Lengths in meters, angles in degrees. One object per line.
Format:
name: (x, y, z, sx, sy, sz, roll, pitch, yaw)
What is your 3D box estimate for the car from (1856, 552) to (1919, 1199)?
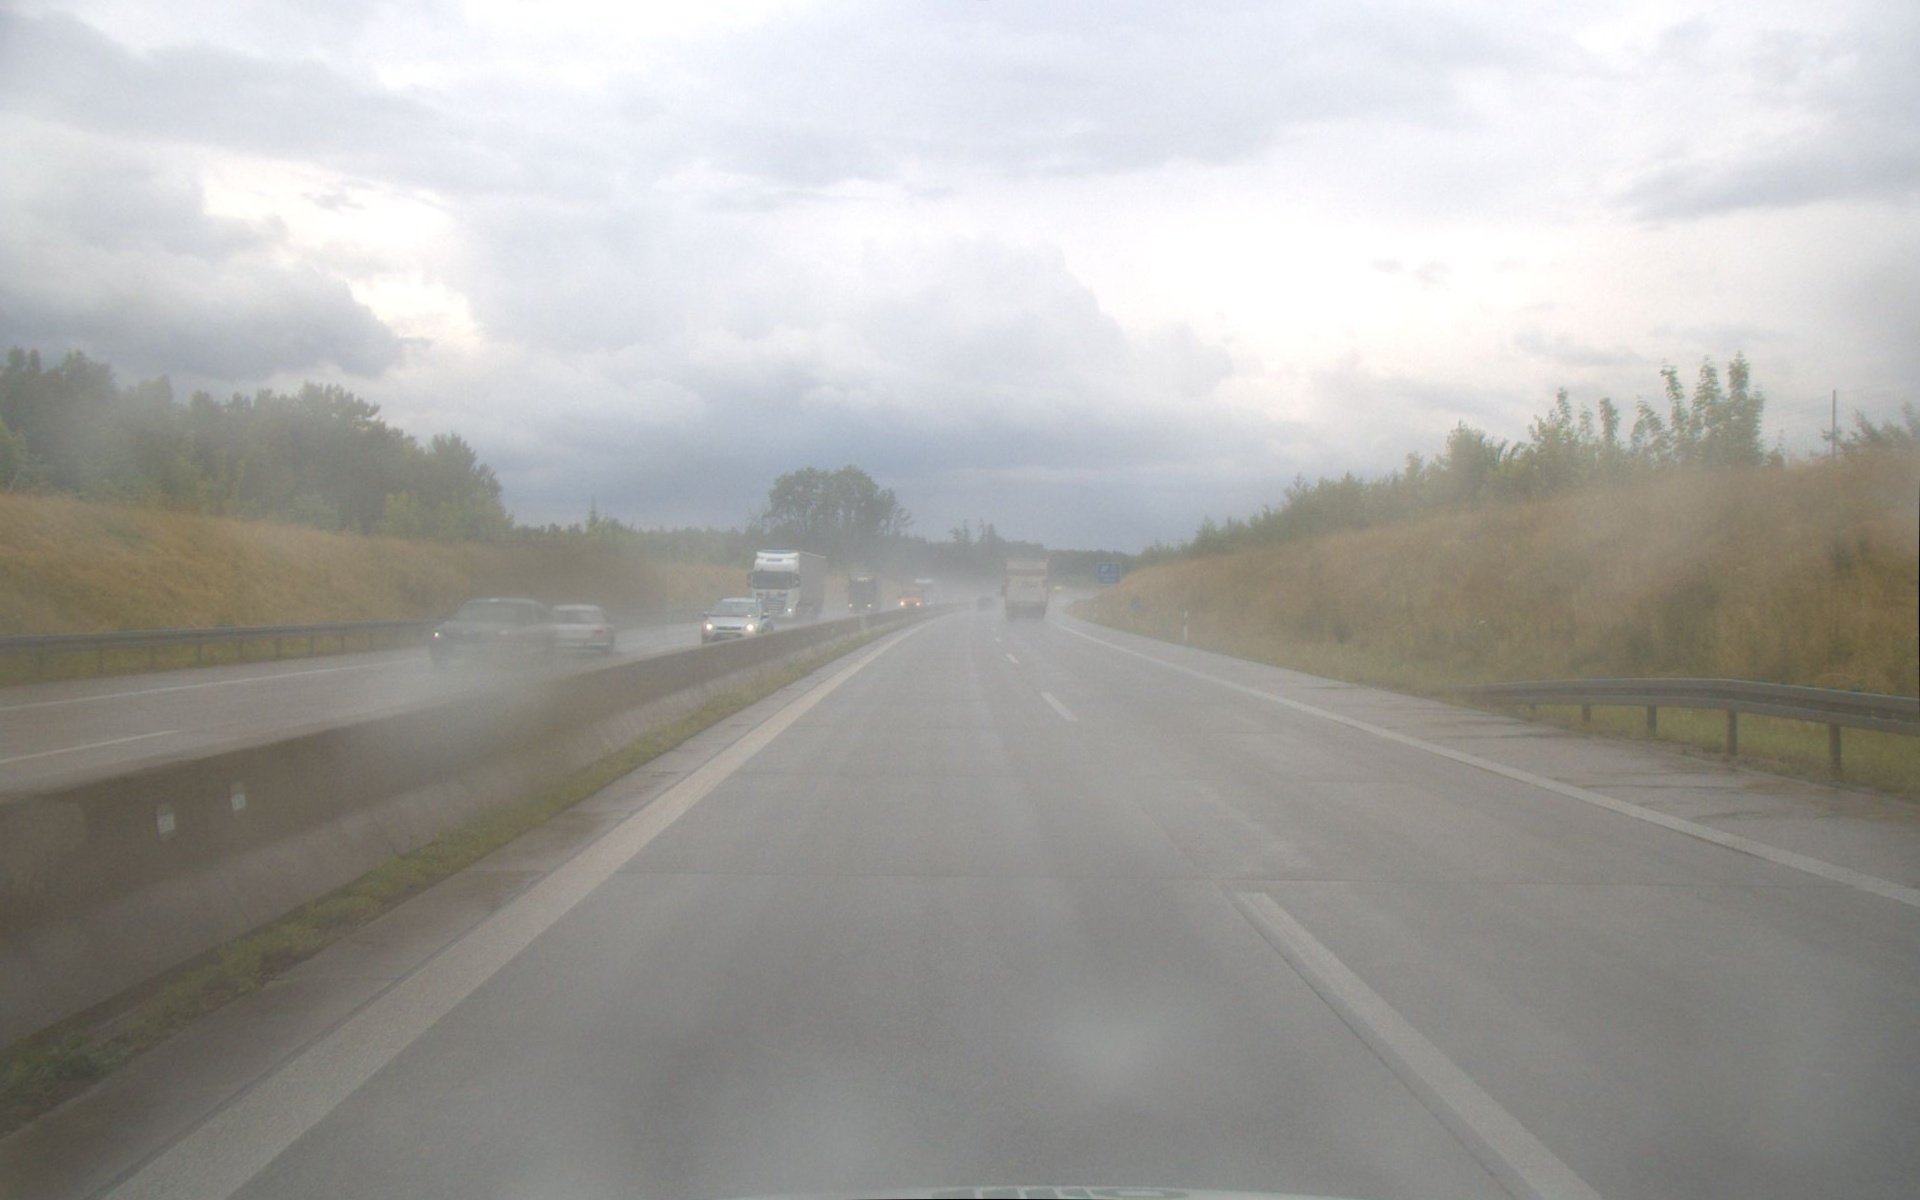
car: (3.304, 0.716, 2.488, 1.856, 1.603, 3.630, 1, 0, -2)

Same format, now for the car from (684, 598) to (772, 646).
car: (-6.811, 0.624, 48.995, 1.953, 1.334, 4.511, 0, 0, 0)

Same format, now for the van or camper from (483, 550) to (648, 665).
van or camper: (-10.173, 0.059, 43.507, 2.394, 2.640, 7.928, 2, 2, 0)

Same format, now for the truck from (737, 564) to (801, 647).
truck: (-11.005, 0.331, 95.945, 2.763, 4.599, 6.625, 1, 0, 1)

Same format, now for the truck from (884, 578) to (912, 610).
truck: (-5.678, -0.557, 152.317, 2.284, 2.831, 6.162, 0, 0, 1)

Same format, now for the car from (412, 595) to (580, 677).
car: (-10.228, 0.739, 36.931, 2.240, 1.584, 5.181, 2, 0, 0)

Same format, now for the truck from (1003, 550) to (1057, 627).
truck: (4.361, -0.756, 102.110, 3.176, 4.514, 8.250, 0, 1, 3)
